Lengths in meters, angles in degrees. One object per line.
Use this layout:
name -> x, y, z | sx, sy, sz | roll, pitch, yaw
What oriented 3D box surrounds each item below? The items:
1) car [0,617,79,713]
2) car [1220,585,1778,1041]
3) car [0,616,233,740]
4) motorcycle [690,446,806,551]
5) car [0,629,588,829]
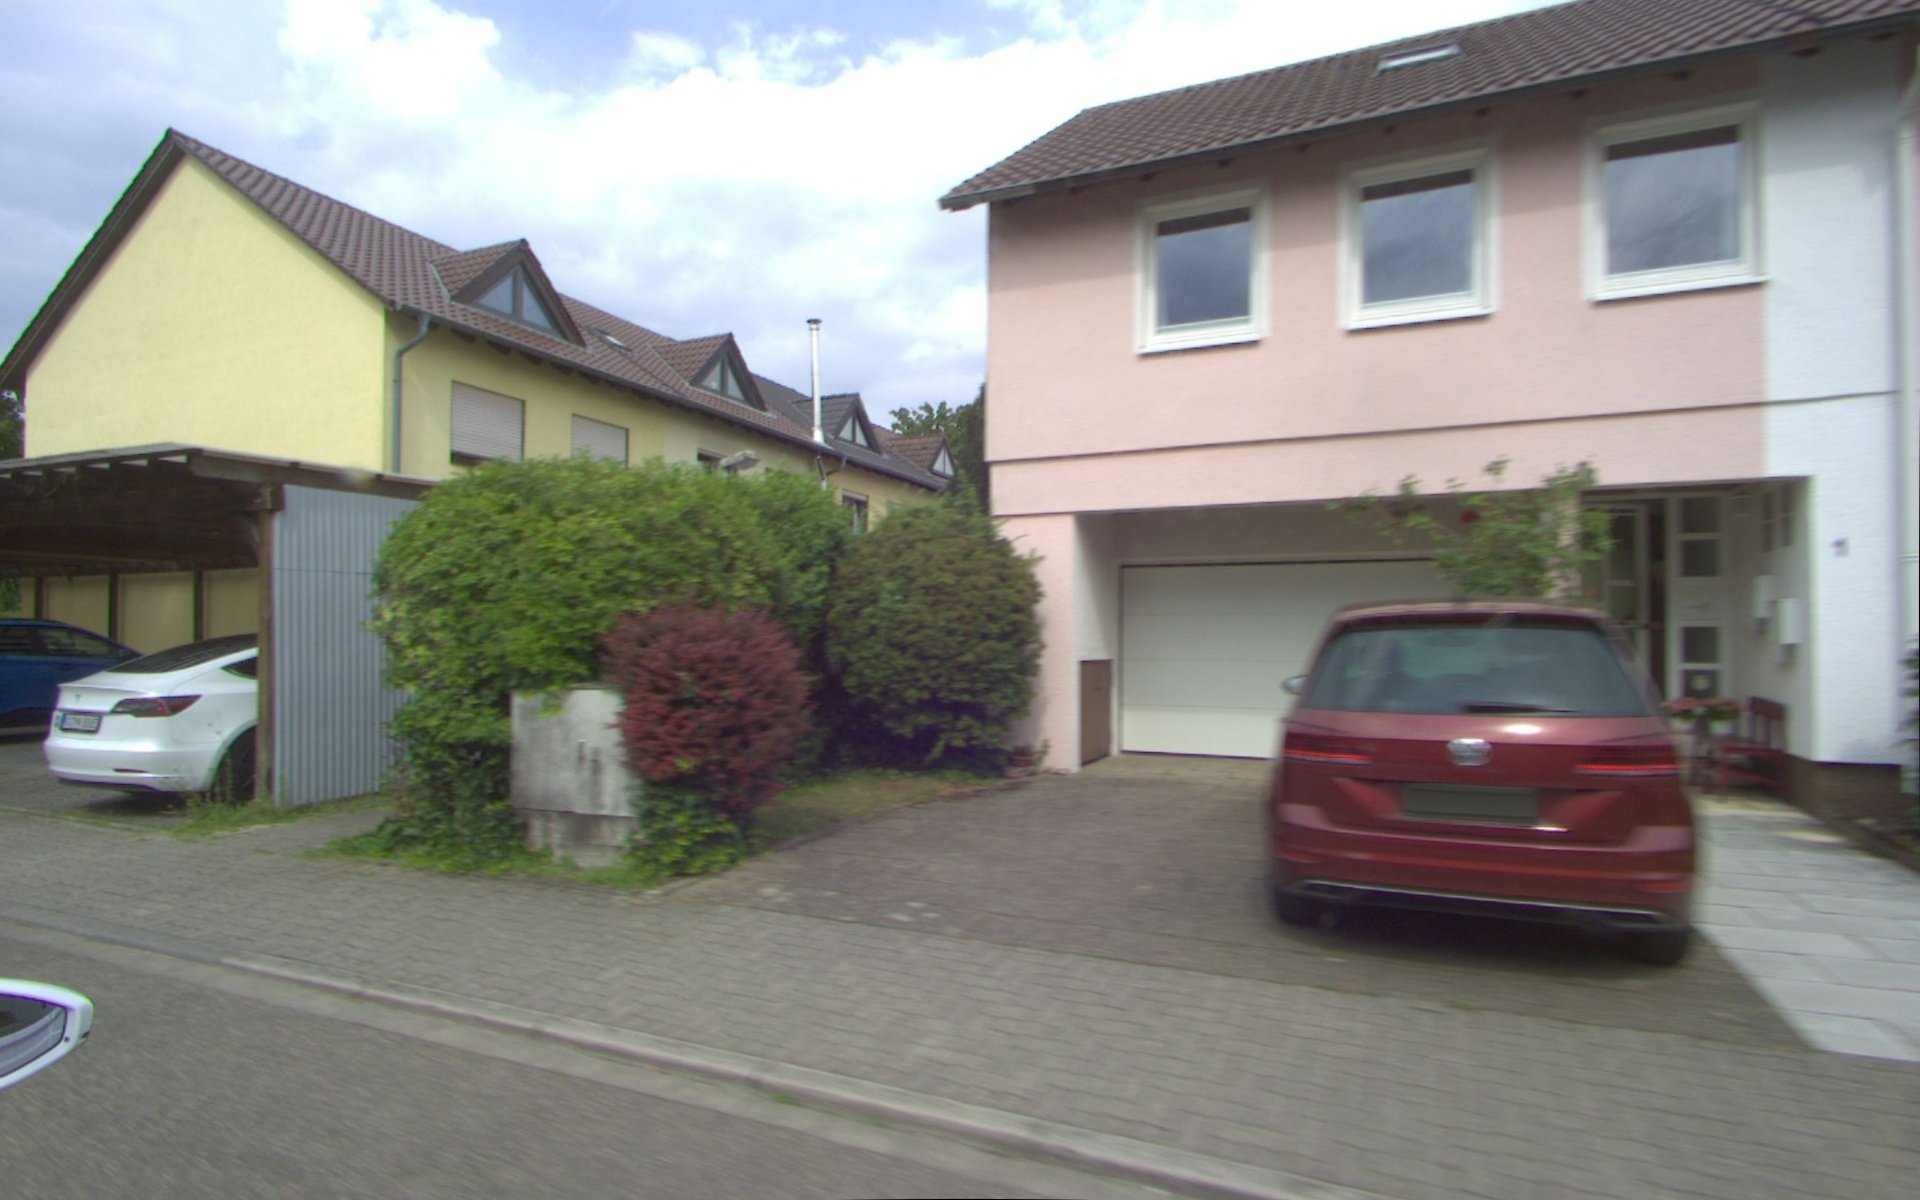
car -> -16.775, 1.026, 15.771 | 1.808, 1.559, 3.962 | 0, -2, 22
car -> 2.870, 0.808, 5.824 | 1.903, 1.580, 4.272 | 0, -2, 25
car -> -12.511, 0.997, 13.454 | 1.917, 1.542, 4.051 | 0, -2, 22
motorcycle -> -2.689, -1.269, 12.694 | 1.453, 1.247, 0.354 | 0, -1, 19
car -> -6.034, 1.030, 9.782 | 1.993, 1.451, 4.454 | 0, -2, 23
